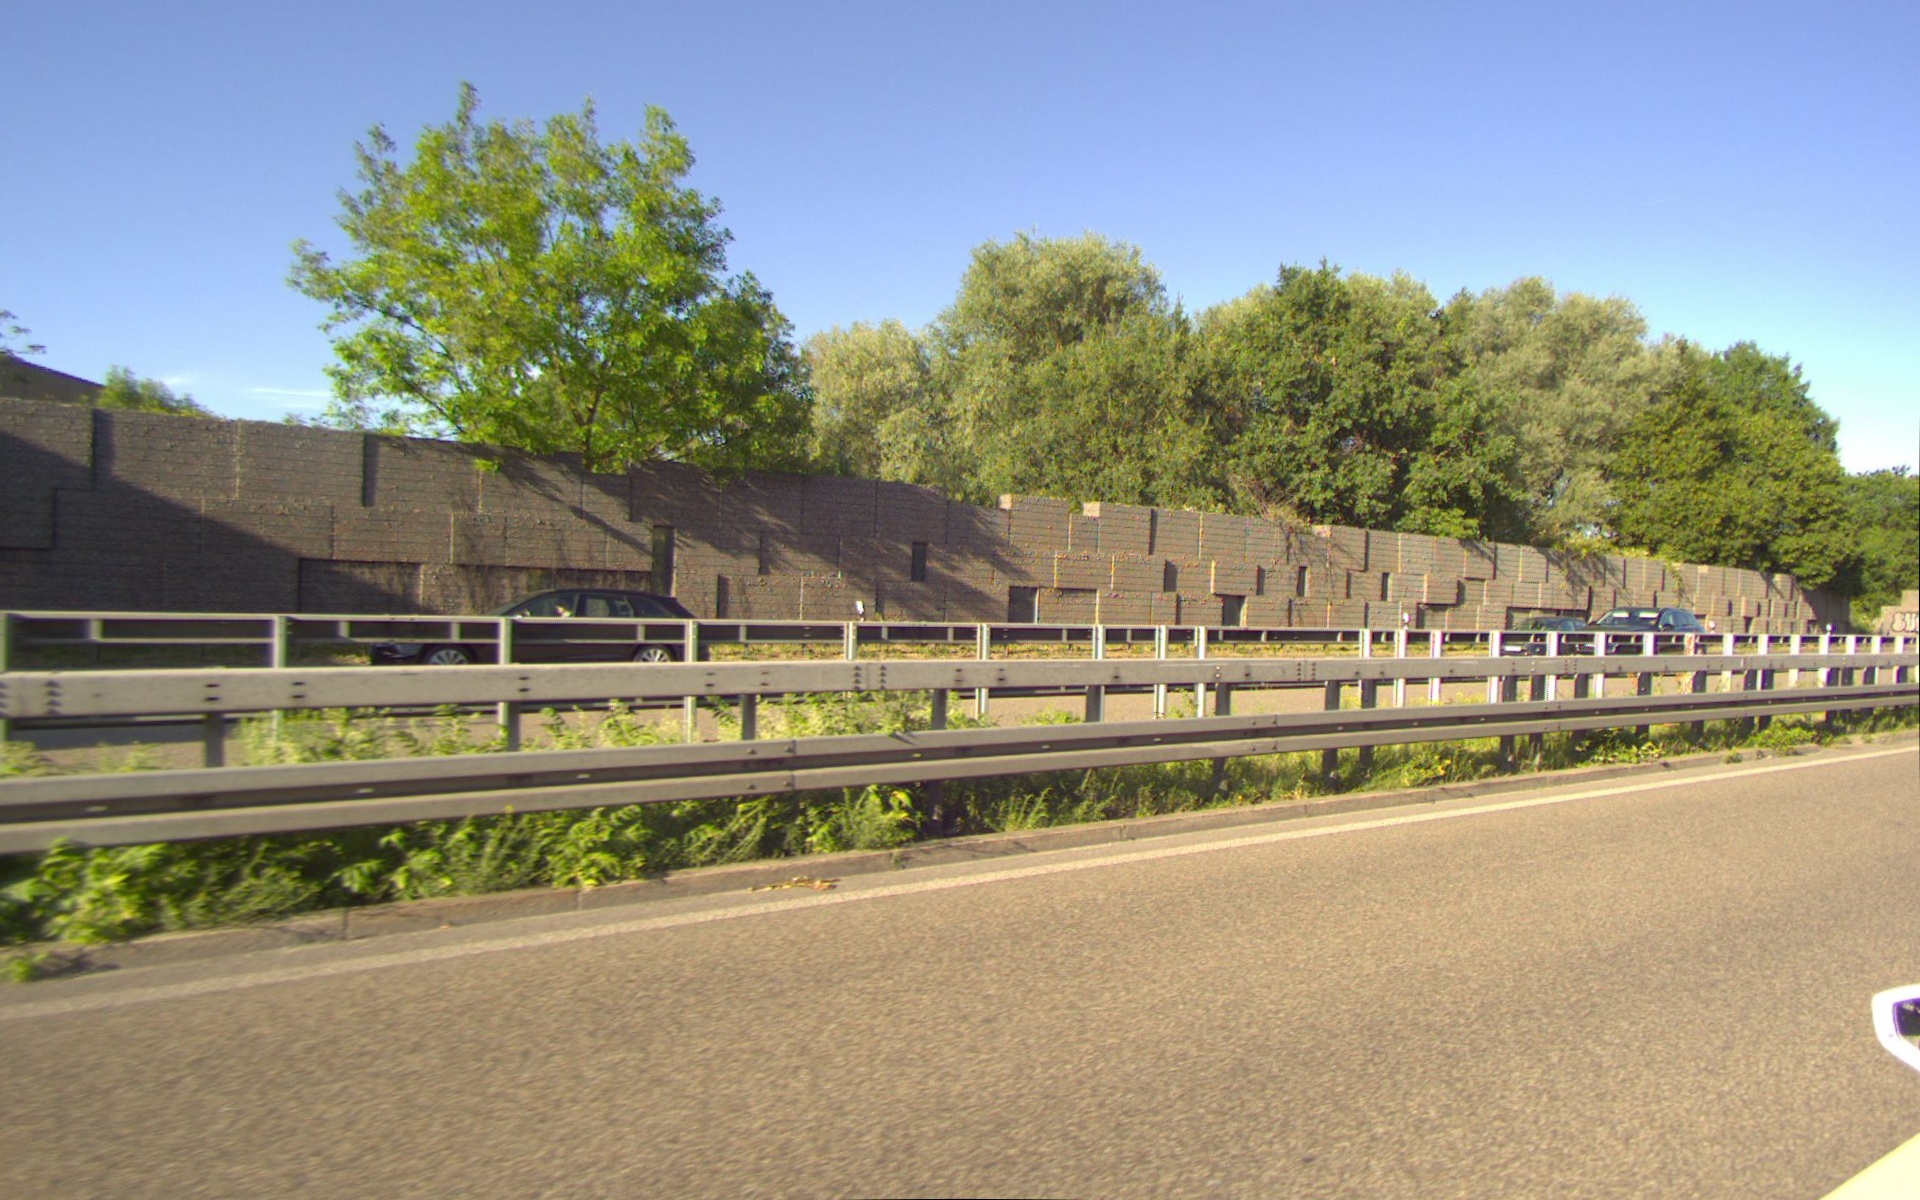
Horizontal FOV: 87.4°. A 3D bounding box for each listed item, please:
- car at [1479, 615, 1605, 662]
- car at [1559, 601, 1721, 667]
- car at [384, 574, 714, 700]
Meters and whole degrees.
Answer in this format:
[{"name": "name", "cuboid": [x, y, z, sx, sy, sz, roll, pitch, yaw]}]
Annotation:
[{"name": "car", "cuboid": [19.202, 1.232, 33.088, 4.087, 1.440, 1.888, 1, -1, -31]}, {"name": "car", "cuboid": [19.017, 0.907, 28.031, 4.753, 1.595, 1.887, 1, 3, -31]}, {"name": "car", "cuboid": [-6.025, 0.490, 14.886, 4.345, 1.595, 1.537, 1, 3, -31]}]
